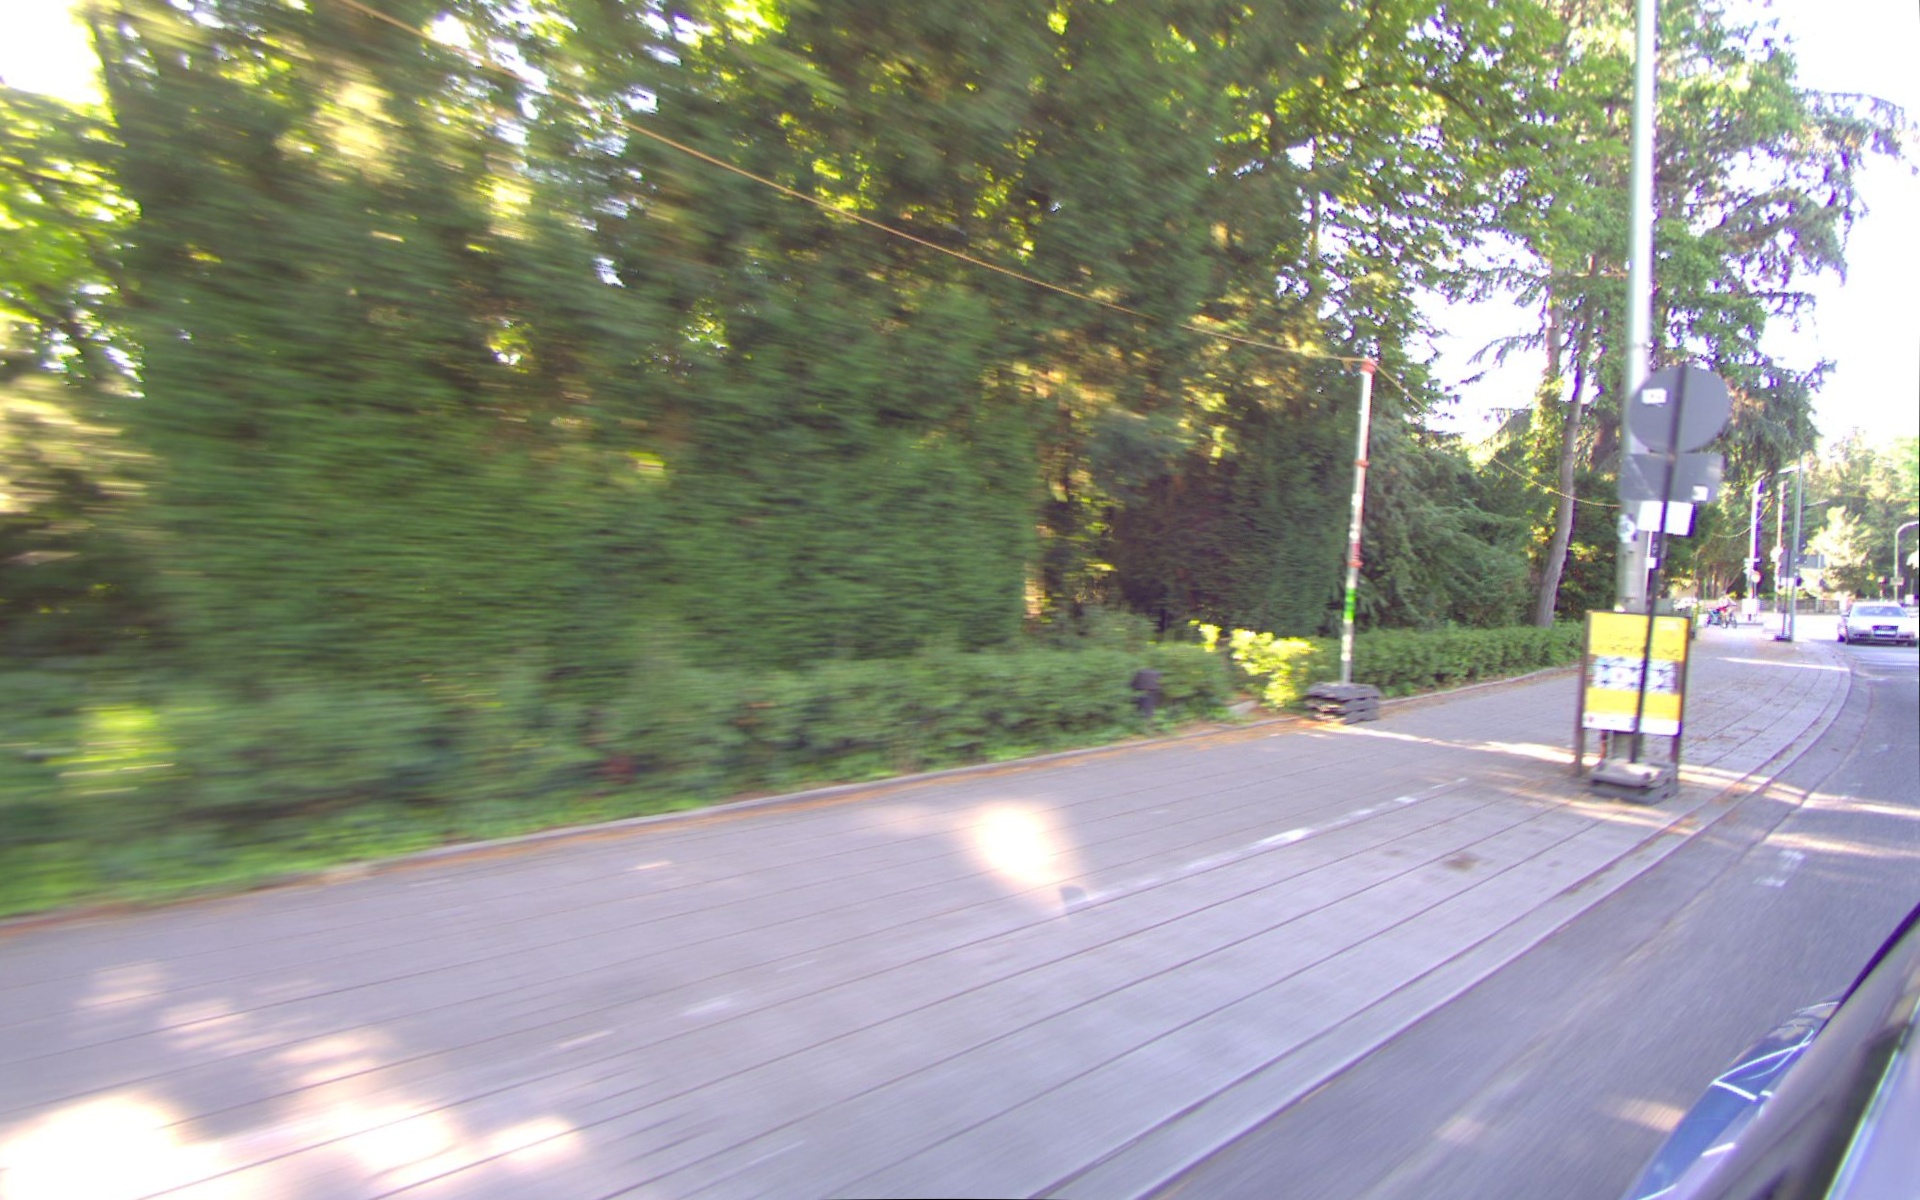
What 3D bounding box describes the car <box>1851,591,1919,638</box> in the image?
[{"bbox_3d":[31.833,0.465,34.659,1.654,1.495,3.634,1,1,37],"label":"car"}]
